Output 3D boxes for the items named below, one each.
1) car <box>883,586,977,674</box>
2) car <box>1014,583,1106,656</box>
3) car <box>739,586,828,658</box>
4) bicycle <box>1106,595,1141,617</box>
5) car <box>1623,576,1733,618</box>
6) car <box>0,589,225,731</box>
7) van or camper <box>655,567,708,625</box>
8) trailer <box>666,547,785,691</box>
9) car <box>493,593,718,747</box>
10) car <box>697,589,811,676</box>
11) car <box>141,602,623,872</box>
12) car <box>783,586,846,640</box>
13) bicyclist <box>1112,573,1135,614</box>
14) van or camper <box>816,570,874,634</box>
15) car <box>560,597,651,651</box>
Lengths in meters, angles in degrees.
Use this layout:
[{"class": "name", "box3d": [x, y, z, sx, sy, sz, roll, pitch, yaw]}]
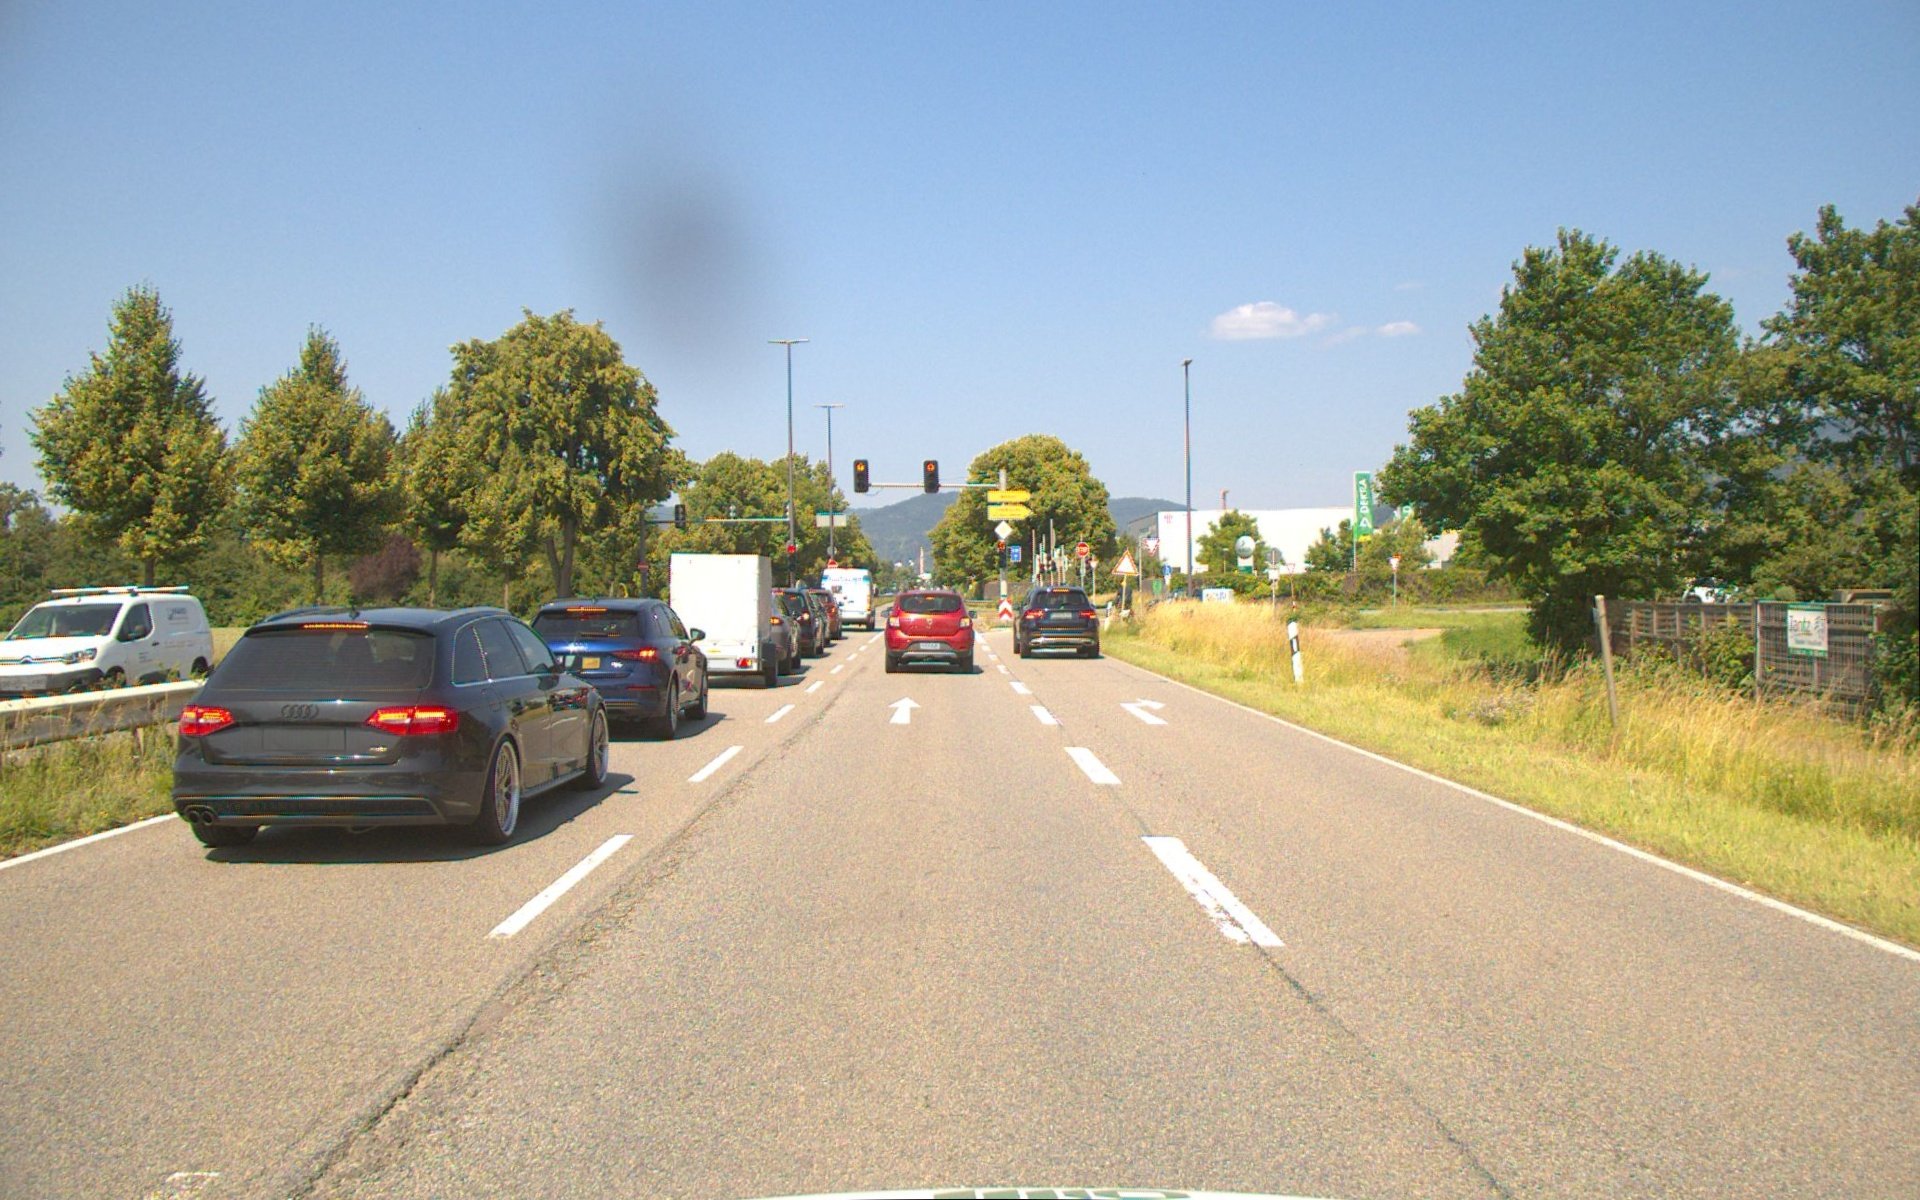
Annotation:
[{"class": "car", "box3d": [-0.542, 0.543, 32.448, 1.713, 1.603, 3.676, -1, 0, 0]}, {"class": "car", "box3d": [2.329, 0.432, 39.543, 1.952, 1.645, 4.339, 0, 0, 0]}, {"class": "car", "box3d": [-4.093, 0.482, 38.779, 1.688, 1.603, 3.892, 0, 0, -1]}, {"class": "bicycle", "box3d": [7.211, 0.251, 73.162, 0.748, 0.931, 2.771, -1, 0, -12]}, {"class": "car", "box3d": [34.298, -0.143, 79.079, 4.396, 1.900, 1.886, -1, 0, 2]}, {"class": "car", "box3d": [-13.511, 0.852, 25.878, 1.953, 1.986, 4.828, -1, 0, -2]}, {"class": "van or camper", "box3d": [-15.751, -0.269, 93.908, 2.218, 3.153, 5.693, -1, 0, -2]}, {"class": "trailer", "box3d": [-3.817, 0.280, 27.428, 1.470, 2.211, 4.173, 0, 0, -1]}, {"class": "car", "box3d": [-3.768, 0.680, 18.235, 1.682, 1.491, 4.029, 0, 0, -1]}, {"class": "car", "box3d": [-3.855, 0.564, 31.508, 1.710, 1.529, 4.362, -1, 0, -2]}, {"class": "car", "box3d": [-3.527, 0.732, 11.032, 1.705, 1.404, 4.454, 0, 0, -1]}, {"class": "car", "box3d": [-4.601, 0.391, 52.827, 1.689, 1.628, 3.955, 0, 0, -1]}, {"class": "bicyclist", "box3d": [7.209, -0.284, 73.015, 0.788, 1.802, 0.806, -1, 0, -12]}, {"class": "van or camper", "box3d": [-4.381, 0.079, 63.315, 2.136, 2.343, 4.823, 0, 0, -3]}, {"class": "car", "box3d": [-10.509, 0.691, 49.324, 1.841, 1.480, 4.503, -1, 0, -2]}]
